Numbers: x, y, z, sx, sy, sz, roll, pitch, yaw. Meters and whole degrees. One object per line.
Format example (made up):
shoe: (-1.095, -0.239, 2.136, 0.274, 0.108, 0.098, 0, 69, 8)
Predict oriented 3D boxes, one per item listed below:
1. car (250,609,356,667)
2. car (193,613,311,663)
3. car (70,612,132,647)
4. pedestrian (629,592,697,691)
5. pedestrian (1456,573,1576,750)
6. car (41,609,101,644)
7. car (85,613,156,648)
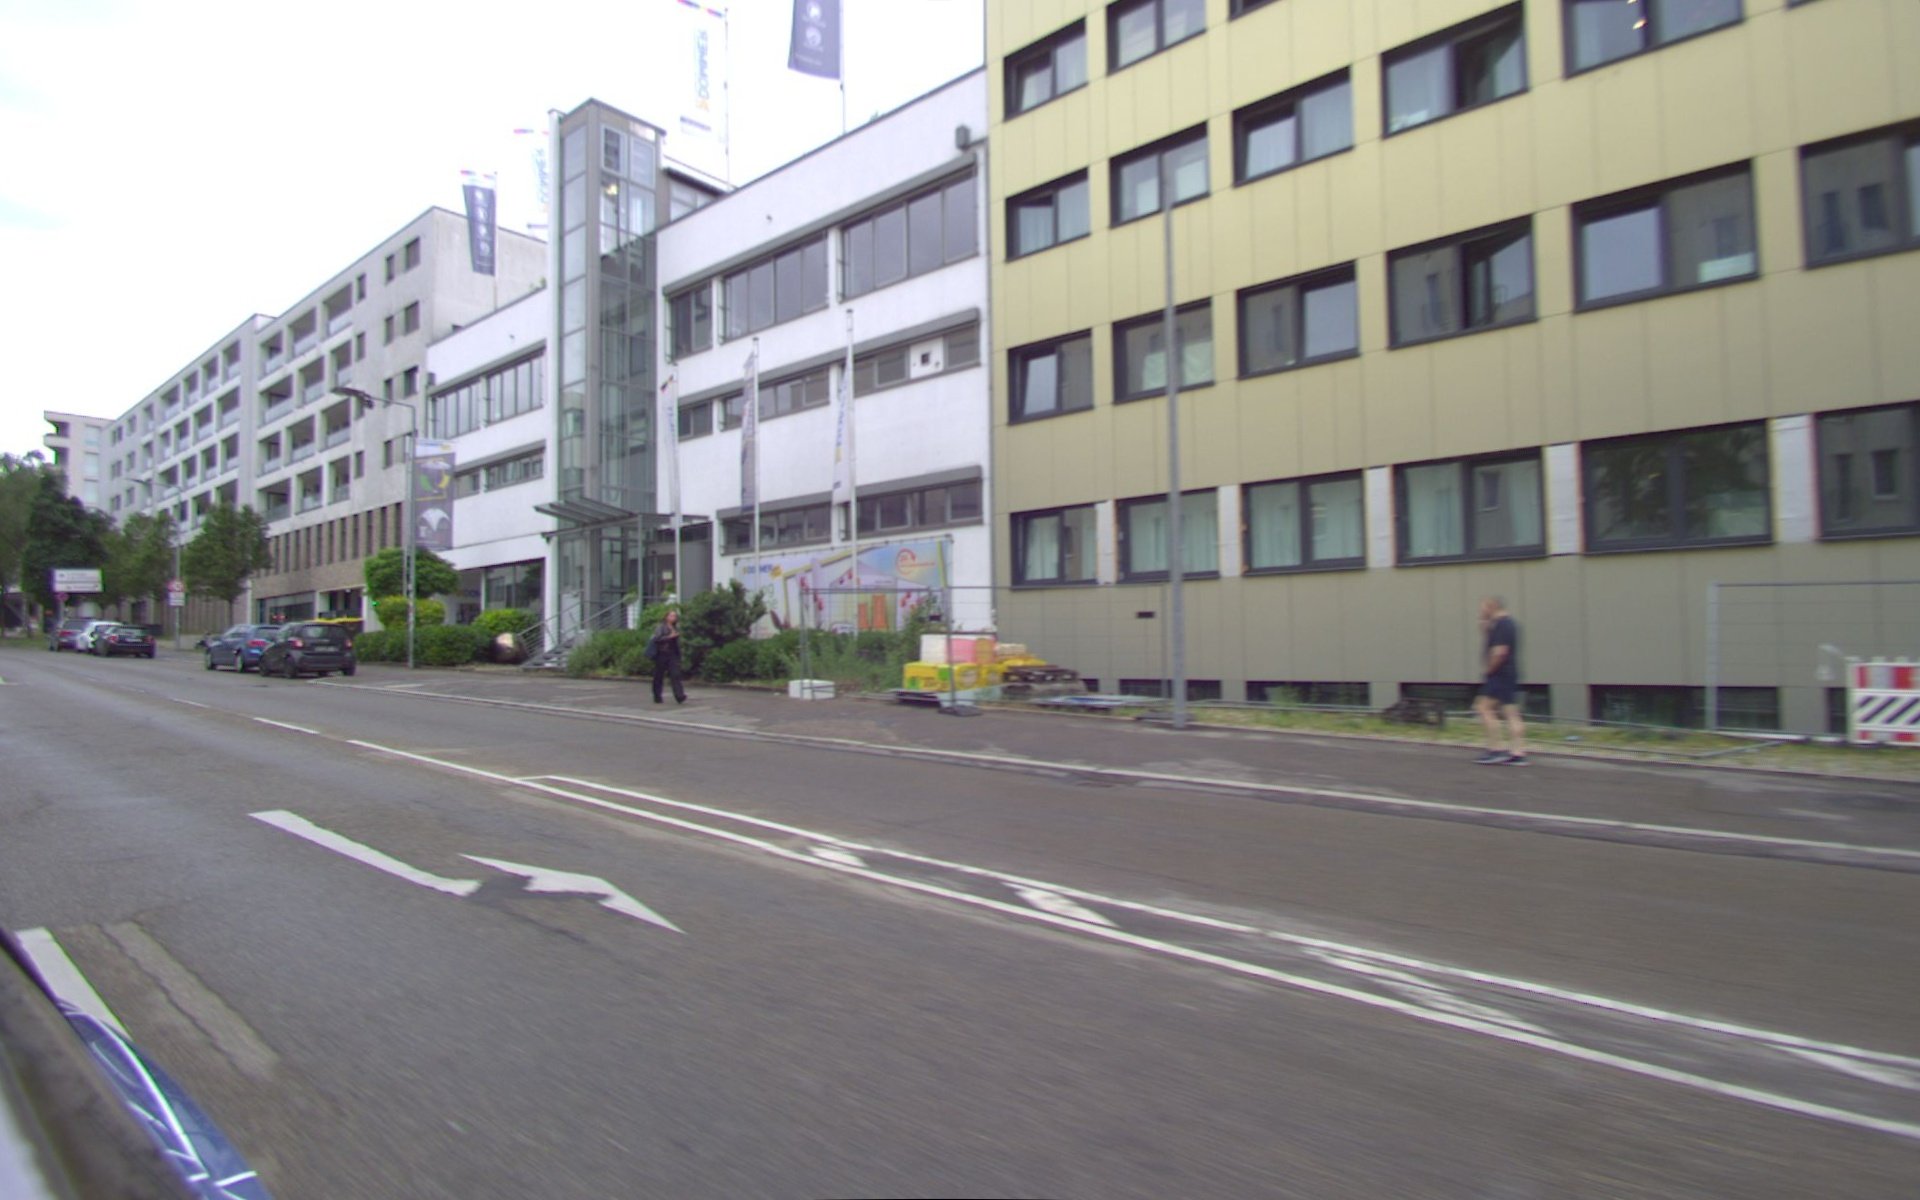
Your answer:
car: (-18.558, 1.068, 28.580, 2.976, 1.521, 1.501, 0, -3, 36)
car: (-21.731, 1.144, 31.021, 4.261, 1.414, 1.641, 0, -3, 36)
car: (-39.999, 1.364, 47.097, 3.419, 1.479, 1.577, 0, -4, 40)
pedestrian: (-5.231, 0.704, 17.826, 0.968, 1.689, 0.759, 0, 1, 42)
pedestrian: (5.812, 0.598, 10.587, 0.942, 1.745, 0.747, 0, 1, 44)
car: (-44.107, 1.294, 50.197, 3.970, 1.630, 1.609, -1, -4, 41)
car: (-36.572, 1.324, 44.065, 3.736, 1.402, 1.641, 0, -3, 39)
